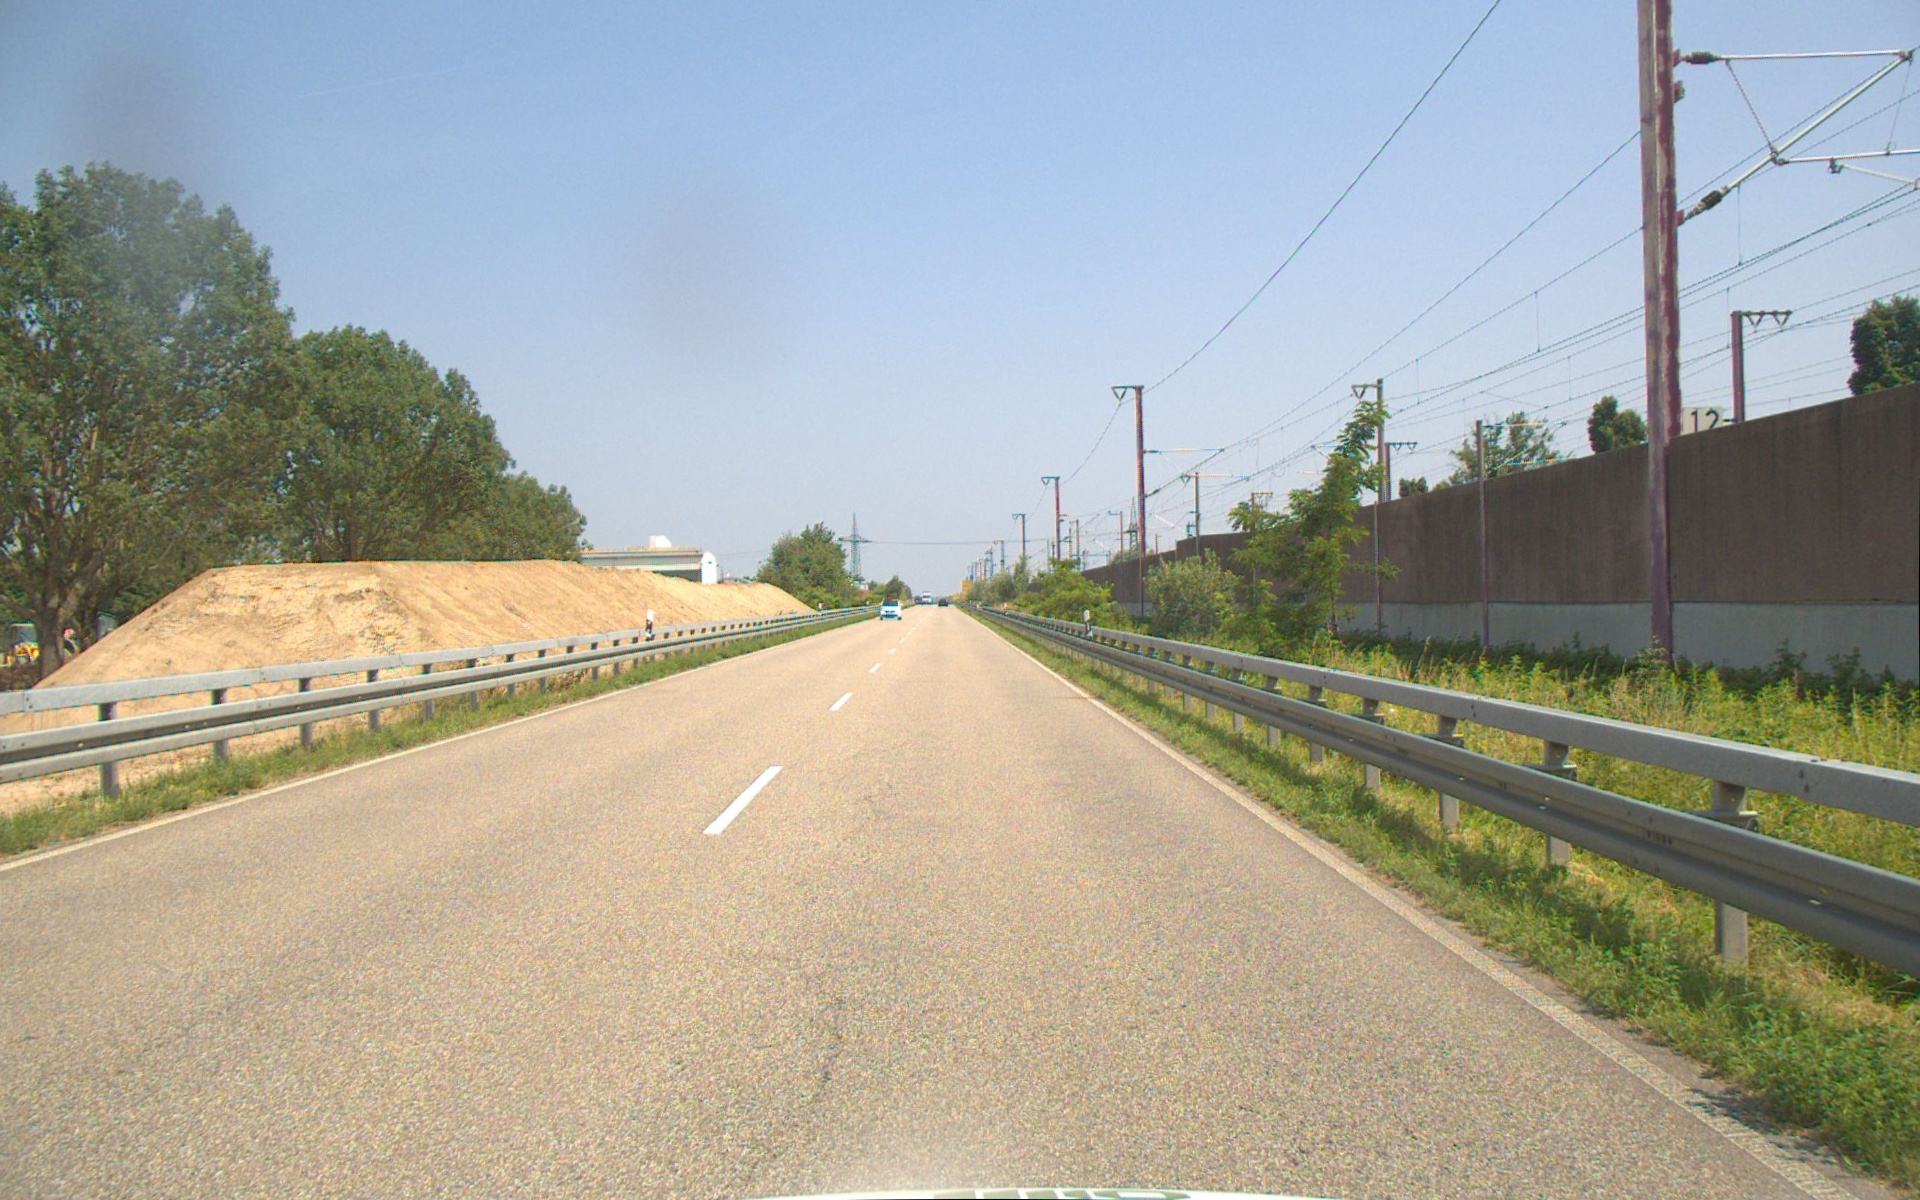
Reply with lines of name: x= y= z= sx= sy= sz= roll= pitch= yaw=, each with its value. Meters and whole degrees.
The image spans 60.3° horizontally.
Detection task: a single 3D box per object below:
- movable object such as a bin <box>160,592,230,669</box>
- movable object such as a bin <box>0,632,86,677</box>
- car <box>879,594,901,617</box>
movable object such as a bin: x=-39.633 y=1.586 z=85.814 sx=2.582 sy=3.716 sz=5.430 roll=-3 pitch=0 yaw=-19
movable object such as a bin: x=-47.474 y=2.803 z=85.134 sx=3.921 sy=2.048 sz=1.992 roll=-3 pitch=0 yaw=-15
car: x=-5.059 y=0.364 z=119.795 sx=1.563 sy=1.604 sz=3.827 roll=0 pitch=0 yaw=-1
